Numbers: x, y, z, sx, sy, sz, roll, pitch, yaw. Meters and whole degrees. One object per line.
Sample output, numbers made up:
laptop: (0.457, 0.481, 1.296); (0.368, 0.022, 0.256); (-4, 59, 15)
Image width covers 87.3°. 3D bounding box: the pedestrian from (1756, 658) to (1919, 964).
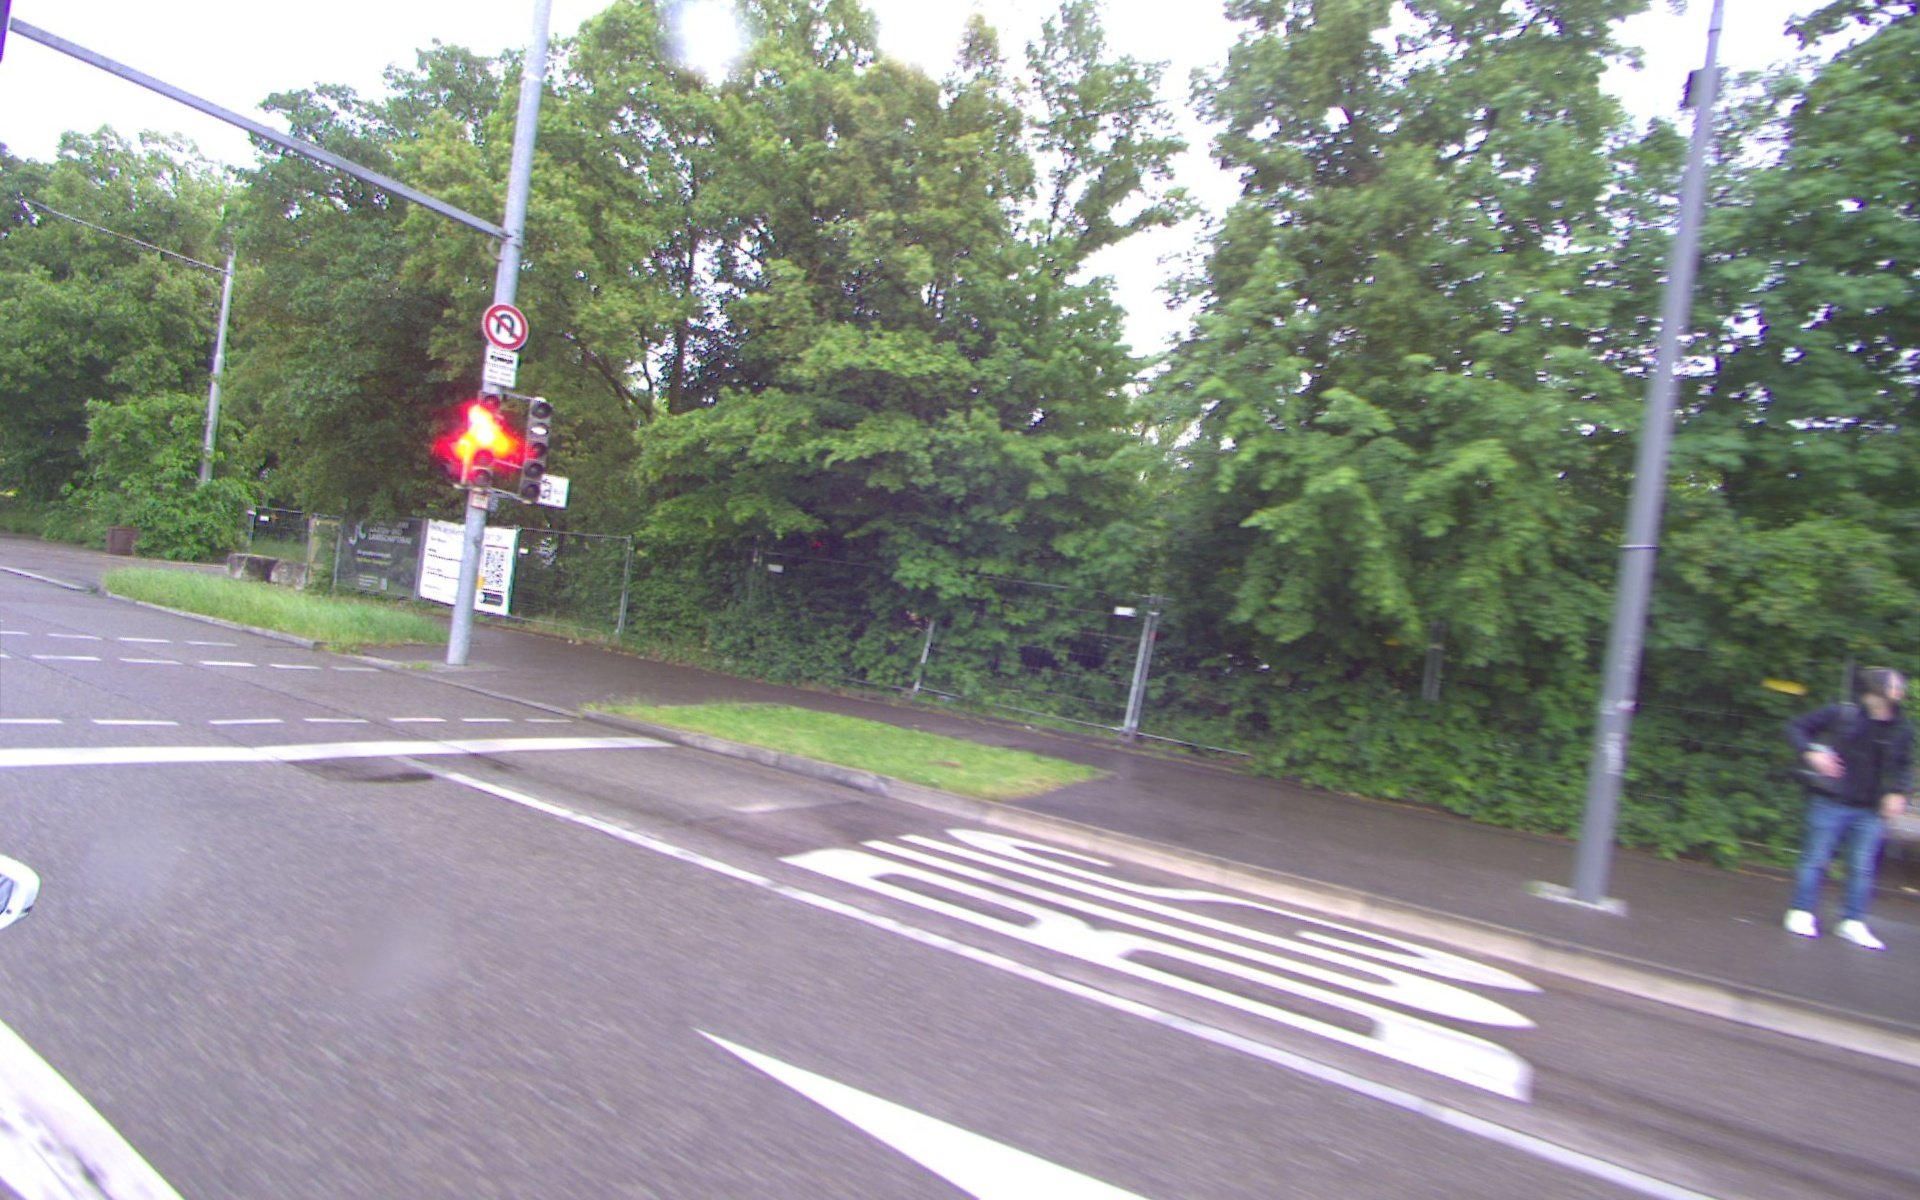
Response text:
pedestrian: (6.212, 1.414, 7.029); (0.706, 1.924, 0.642); (7, 1, 26)
